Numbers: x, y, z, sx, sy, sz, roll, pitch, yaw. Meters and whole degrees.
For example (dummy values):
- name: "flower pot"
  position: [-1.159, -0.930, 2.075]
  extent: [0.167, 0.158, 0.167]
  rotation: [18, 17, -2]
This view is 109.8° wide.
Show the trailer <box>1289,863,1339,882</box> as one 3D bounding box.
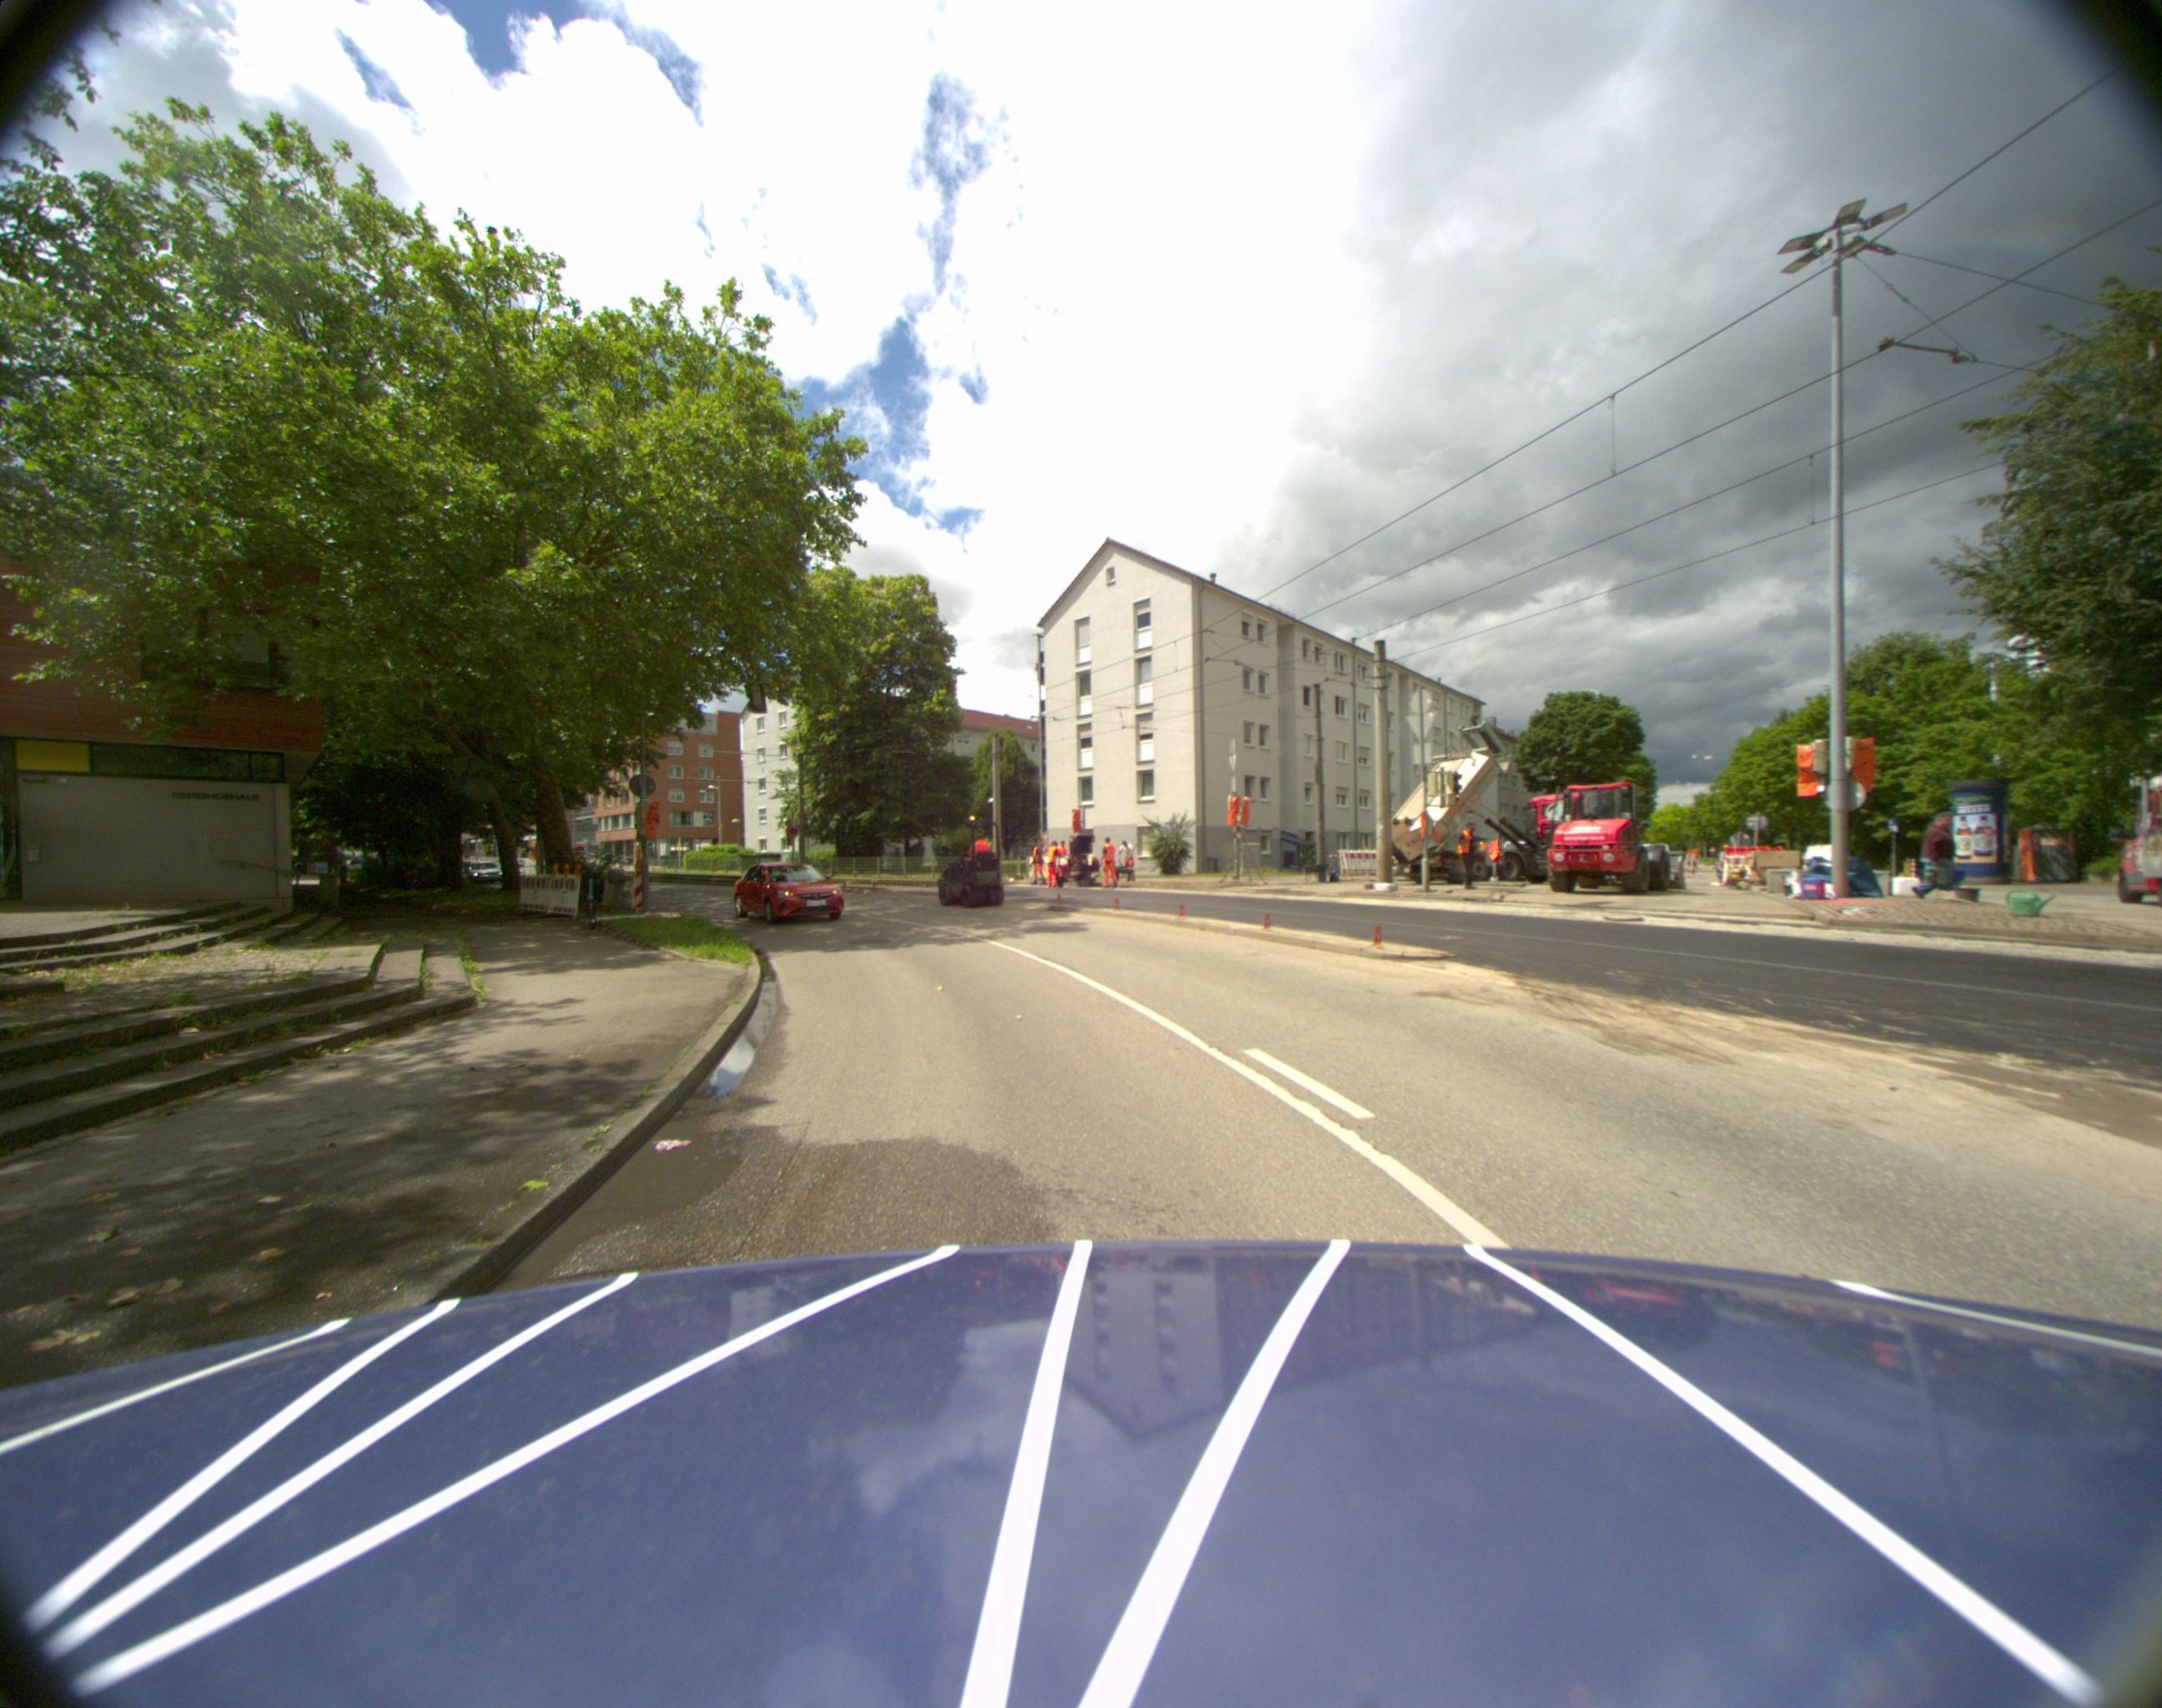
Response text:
- name: "trailer"
  position: [8.023, 0.634, 26.254]
  extent: [0.798, 0.612, 1.594]
  rotation: [0, 0, -23]

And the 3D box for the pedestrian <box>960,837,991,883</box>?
- name: "pedestrian"
  position: [-2.838, 0.159, 20.432]
  extent: [0.552, 1.209, 0.616]
  rotation: [-2, 1, -37]

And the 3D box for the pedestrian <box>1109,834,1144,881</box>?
- name: "pedestrian"
  position: [1.800, 0.128, 30.136]
  extent: [0.871, 1.813, 1.098]
  rotation: [-1, 1, 42]

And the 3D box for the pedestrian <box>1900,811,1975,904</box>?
- name: "pedestrian"
  position: [15.805, 0.068, 14.050]
  extent: [0.930, 1.650, 0.872]
  rotation: [-2, 0, -42]

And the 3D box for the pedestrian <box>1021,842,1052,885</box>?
- name: "pedestrian"
  position: [-1.793, 0.390, 30.670]
  extent: [0.755, 1.706, 0.916]
  rotation: [-3, 1, -42]

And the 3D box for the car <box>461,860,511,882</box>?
- name: "car"
  position: [-37.388, 1.037, 47.751]
  extent: [3.371, 1.311, 1.538]
  rotation: [-1, 1, 35]

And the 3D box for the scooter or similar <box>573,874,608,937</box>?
- name: "scooter or similar"
  position: [-10.179, 1.043, 15.768]
  extent: [0.567, 1.225, 1.192]
  rotation: [-1, 1, -34]

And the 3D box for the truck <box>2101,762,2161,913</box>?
- name: "truck"
  position: [21.154, -0.291, 13.891]
  extent: [5.595, 2.553, 2.412]
  rotation: [0, 0, -43]

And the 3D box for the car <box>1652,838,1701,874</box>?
- name: "car"
  position: [35.376, 0.094, 45.235]
  extent: [1.994, 2.002, 5.921]
  rotation: [0, 0, 35]

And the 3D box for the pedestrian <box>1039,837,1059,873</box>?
- name: "pedestrian"
  position: [-1.511, 0.057, 35.927]
  extent: [0.880, 1.674, 0.667]
  rotation: [-2, 2, -4]

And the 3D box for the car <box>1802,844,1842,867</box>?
- name: "car"
  position: [50.284, 0.069, 51.641]
  extent: [1.673, 1.496, 4.008]
  rotation: [0, 1, 40]

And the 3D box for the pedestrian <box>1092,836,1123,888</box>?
- name: "pedestrian"
  position: [0.967, 0.293, 27.451]
  extent: [0.766, 1.828, 0.785]
  rotation: [-1, 1, 40]

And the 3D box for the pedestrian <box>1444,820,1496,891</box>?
- name: "pedestrian"
  position: [10.352, 0.028, 20.237]
  extent: [0.797, 1.822, 0.969]
  rotation: [-3, 2, -38]

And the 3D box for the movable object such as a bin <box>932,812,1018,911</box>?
- name: "movable object such as a bin"
  position: [-3.006, 0.195, 21.255]
  extent: [1.323, 2.579, 2.356]
  rotation: [-3, 1, -36]

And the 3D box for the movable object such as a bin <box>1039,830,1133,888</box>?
- name: "movable object such as a bin"
  position: [0.149, 0.182, 27.944]
  extent: [2.004, 2.002, 2.960]
  rotation: [-1, 0, -38]

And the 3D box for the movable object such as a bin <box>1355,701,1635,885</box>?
- name: "movable object such as a bin"
  position: [13.831, -1.848, 25.316]
  extent: [9.044, 5.453, 2.816]
  rotation: [-1, 1, -19]

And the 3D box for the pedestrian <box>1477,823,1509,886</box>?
- name: "pedestrian"
  position: [11.890, 0.006, 21.917]
  extent: [0.583, 1.778, 0.611]
  rotation: [-2, 0, -44]

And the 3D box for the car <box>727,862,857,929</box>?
- name: "car"
  position: [-7.370, 0.975, 19.177]
  extent: [1.774, 1.425, 3.828]
  rotation: [-4, 1, -41]

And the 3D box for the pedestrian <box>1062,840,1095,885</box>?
- name: "pedestrian"
  position: [-0.097, 0.316, 29.799]
  extent: [0.861, 1.706, 0.916]
  rotation: [-3, 1, -36]

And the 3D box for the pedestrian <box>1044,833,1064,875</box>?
- name: "pedestrian"
  position: [-1.233, 0.012, 35.165]
  extent: [0.880, 1.897, 0.667]
  rotation: [-2, 2, -2]

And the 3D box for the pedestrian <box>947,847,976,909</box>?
- name: "pedestrian"
  position: [-3.318, 0.655, 21.120]
  extent: [0.471, 1.672, 0.557]
  rotation: [-5, 3, -44]

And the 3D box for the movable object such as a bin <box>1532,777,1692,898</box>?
- name: "movable object such as a bin"
  position: [13.641, -0.443, 19.343]
  extent: [5.598, 2.653, 2.110]
  rotation: [-3, 2, -42]

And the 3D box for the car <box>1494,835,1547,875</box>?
- name: "car"
  position: [22.089, 0.033, 38.122]
  extent: [1.994, 1.871, 4.352]
  rotation: [0, 0, 34]
